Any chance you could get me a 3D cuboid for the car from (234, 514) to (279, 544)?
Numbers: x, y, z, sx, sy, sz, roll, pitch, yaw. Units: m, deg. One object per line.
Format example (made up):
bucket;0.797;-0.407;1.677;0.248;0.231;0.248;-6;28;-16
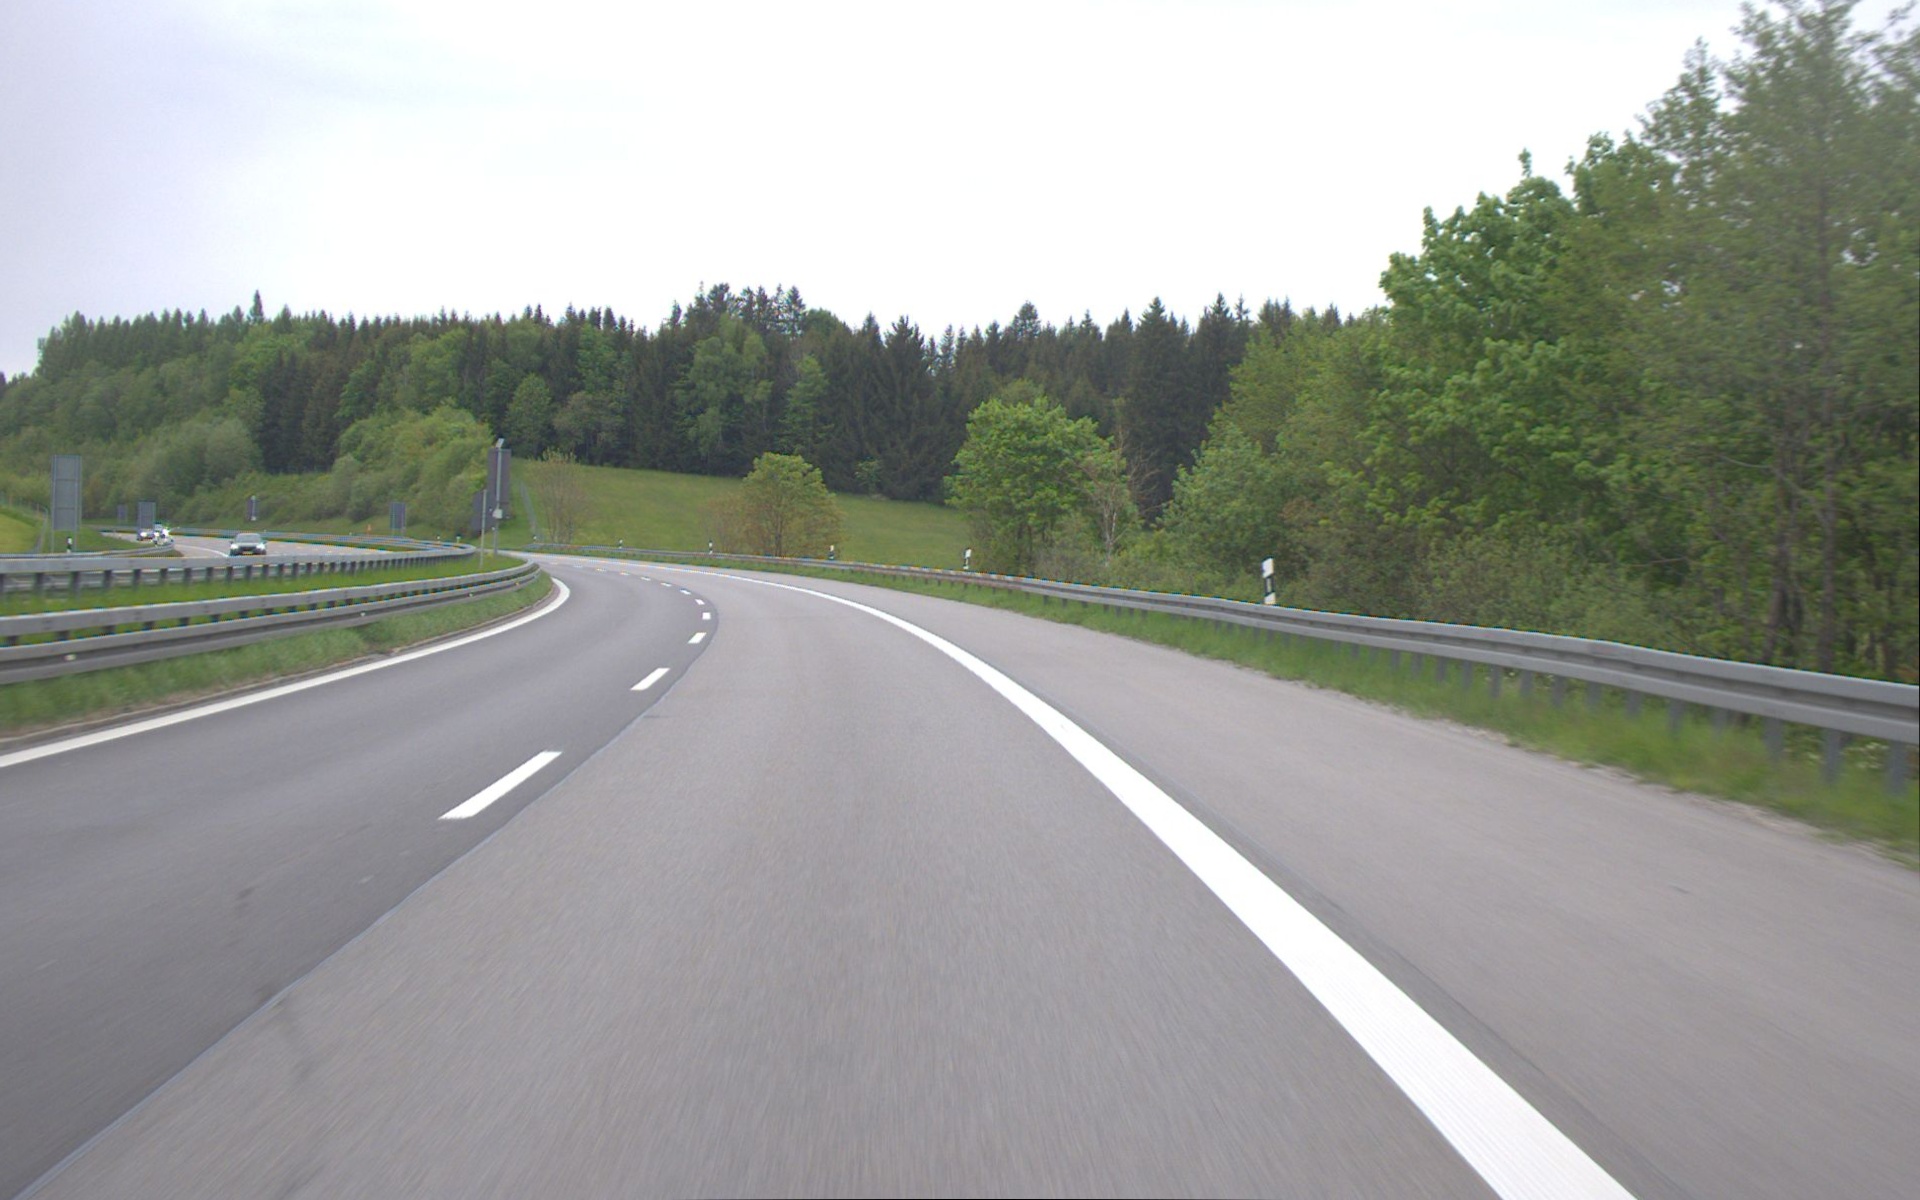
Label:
car;-37.289;-3.781;182.367;1.993;1.493;4.152;3;1;-8
